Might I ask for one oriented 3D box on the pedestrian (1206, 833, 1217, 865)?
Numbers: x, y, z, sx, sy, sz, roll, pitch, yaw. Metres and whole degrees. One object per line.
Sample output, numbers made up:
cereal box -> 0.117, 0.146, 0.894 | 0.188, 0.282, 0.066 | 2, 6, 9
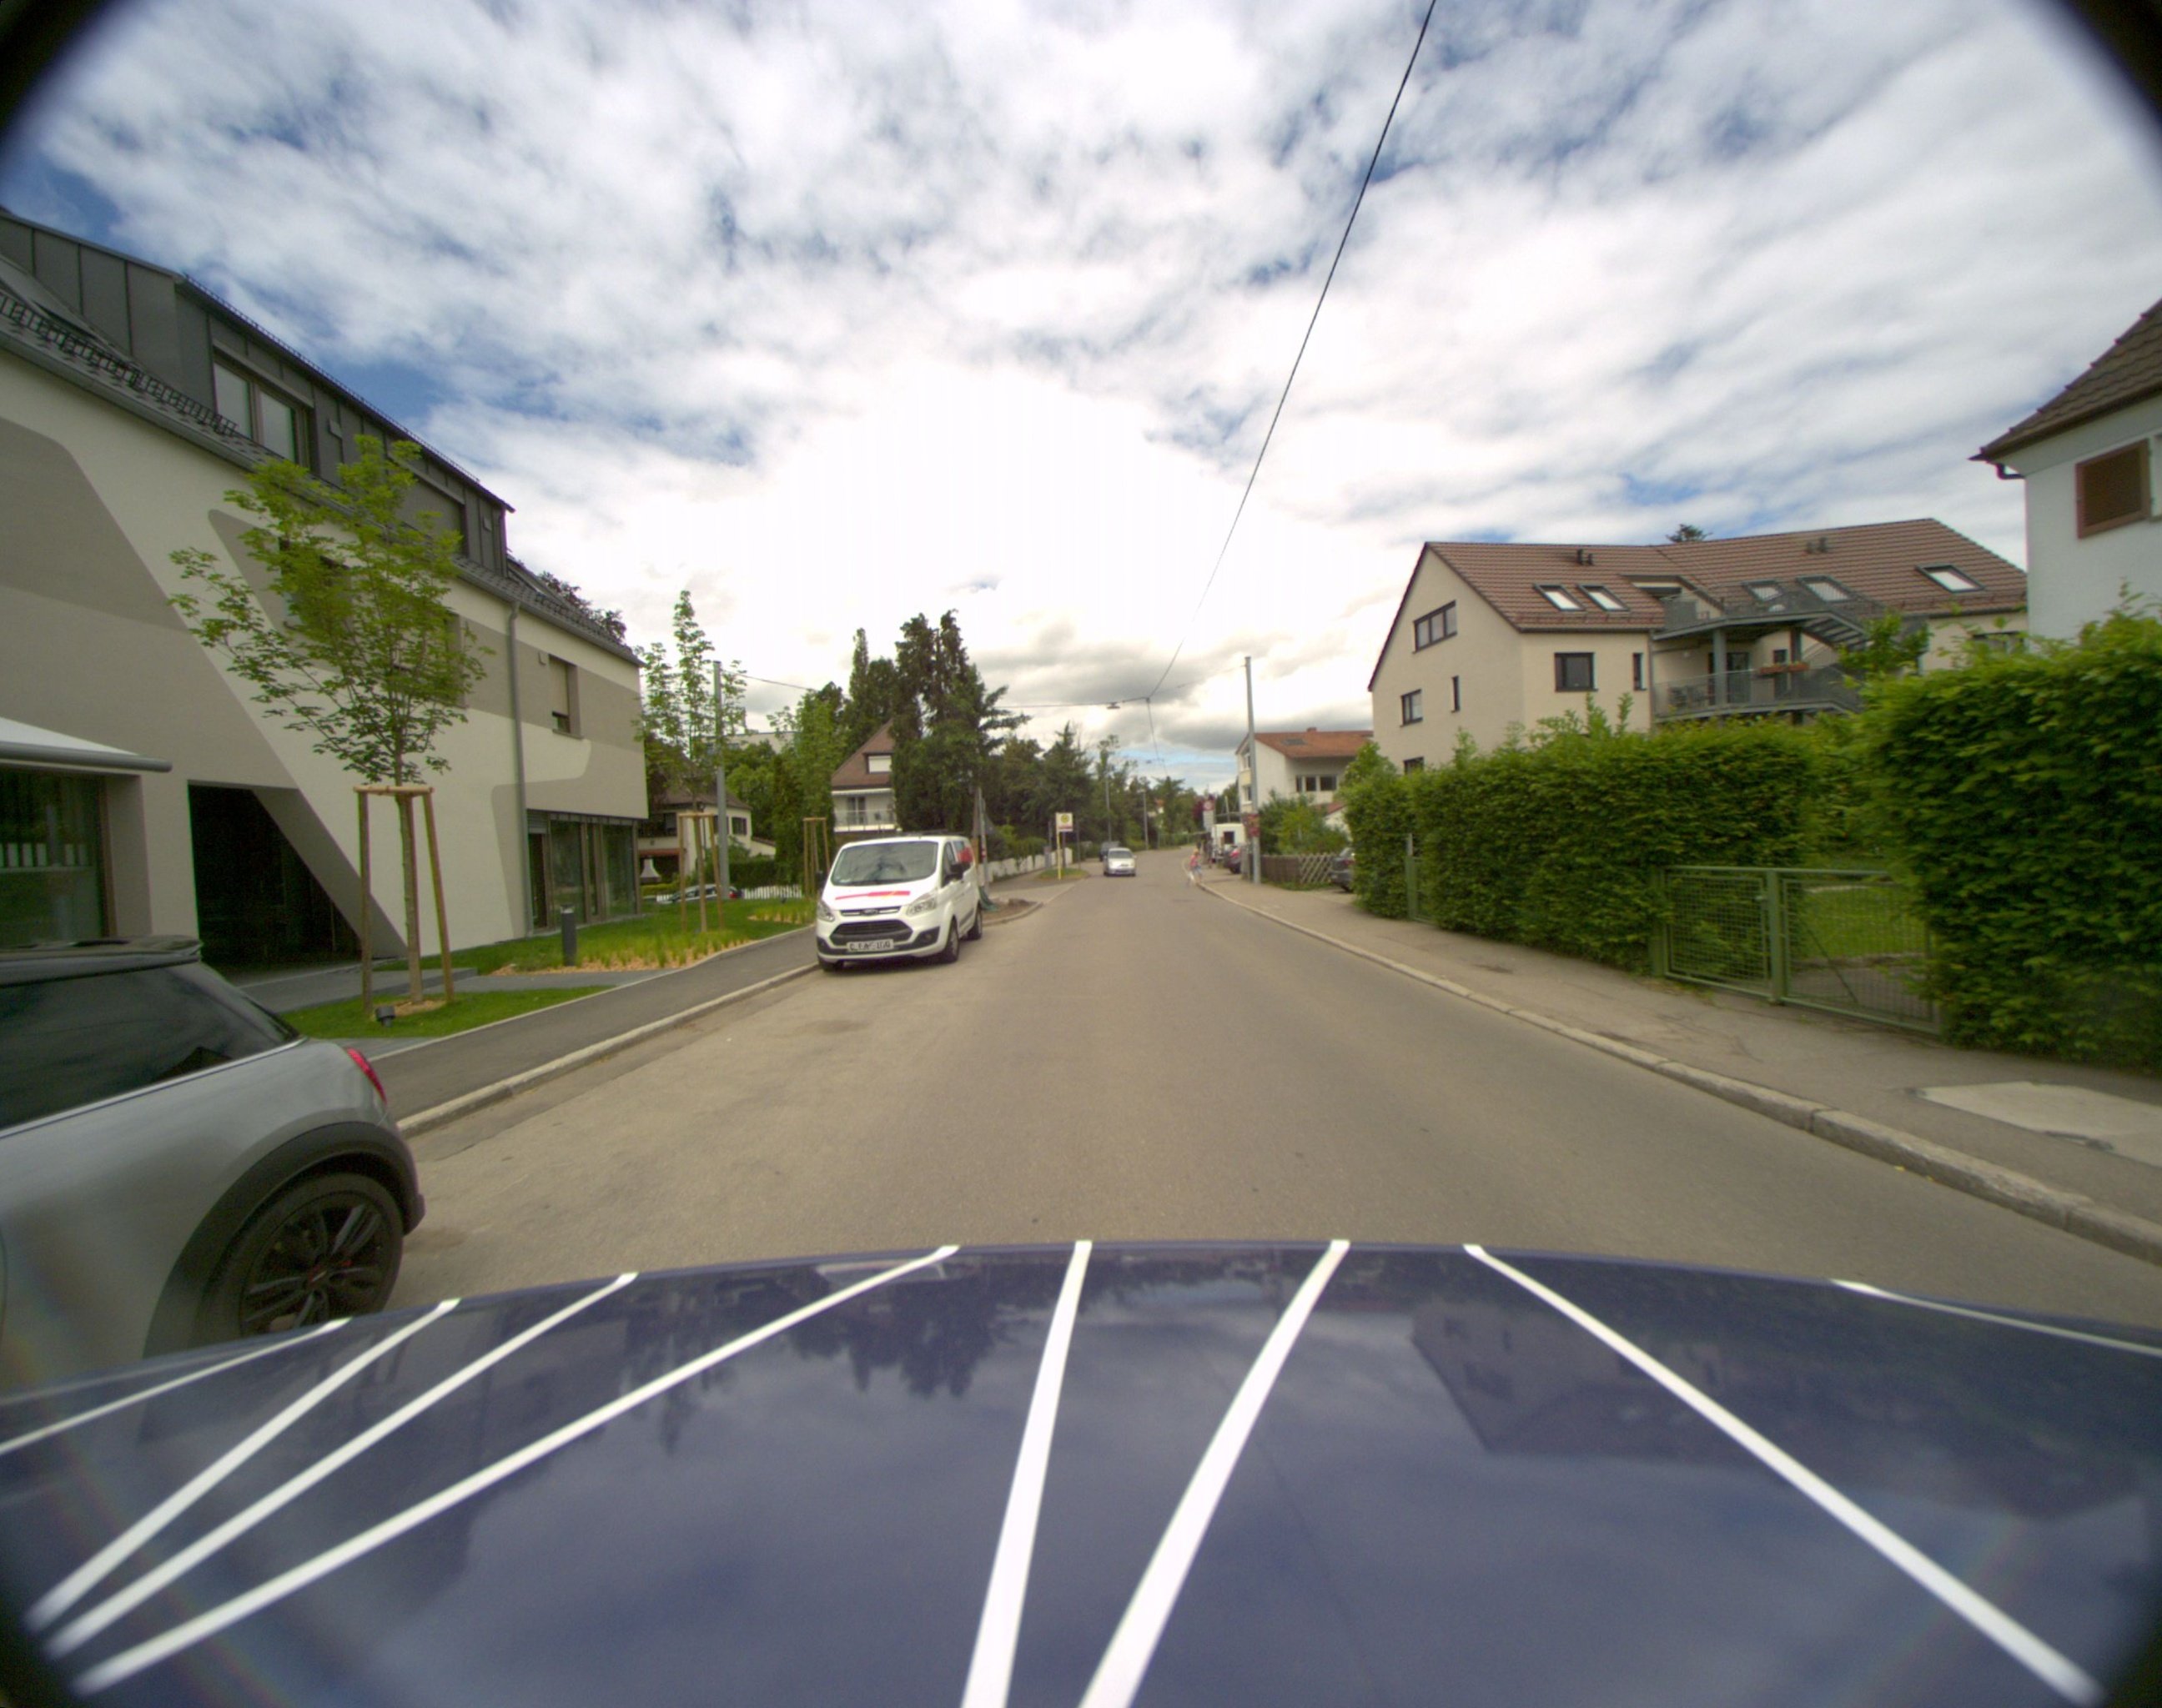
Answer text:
pedestrian -> 8.085, -0.314, 47.098 | 0.535, 1.941, 0.528 | -3, 1, 9

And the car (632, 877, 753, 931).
car -> -15.942, 2.036, 31.361 | 3.844, 1.587, 1.874 | -7, 2, -8

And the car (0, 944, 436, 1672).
car -> -3.231, 1.125, 0.854 | 1.711, 1.444, 3.834 | -4, 1, -2

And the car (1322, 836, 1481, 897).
car -> 9.059, 0.339, 21.710 | 3.760, 1.484, 1.776 | -3, 1, 1

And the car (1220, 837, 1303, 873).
car -> 9.701, 0.063, 41.032 | 3.996, 1.718, 1.885 | -3, 1, 1

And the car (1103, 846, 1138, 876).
car -> 2.237, 0.345, 43.956 | 1.726, 1.559, 3.926 | -3, 1, -1

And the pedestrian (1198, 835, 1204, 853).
pedestrian -> 13.418, -1.142, 85.087 | 0.527, 1.941, 0.537 | -3, 1, 10

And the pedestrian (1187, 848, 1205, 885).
pedestrian -> 5.080, 0.547, 33.480 | 0.619, 1.590, 0.608 | -3, 1, -2

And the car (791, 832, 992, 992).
car -> -2.872, 0.755, 13.033 | 1.999, 2.002, 5.565 | -5, 1, -1
